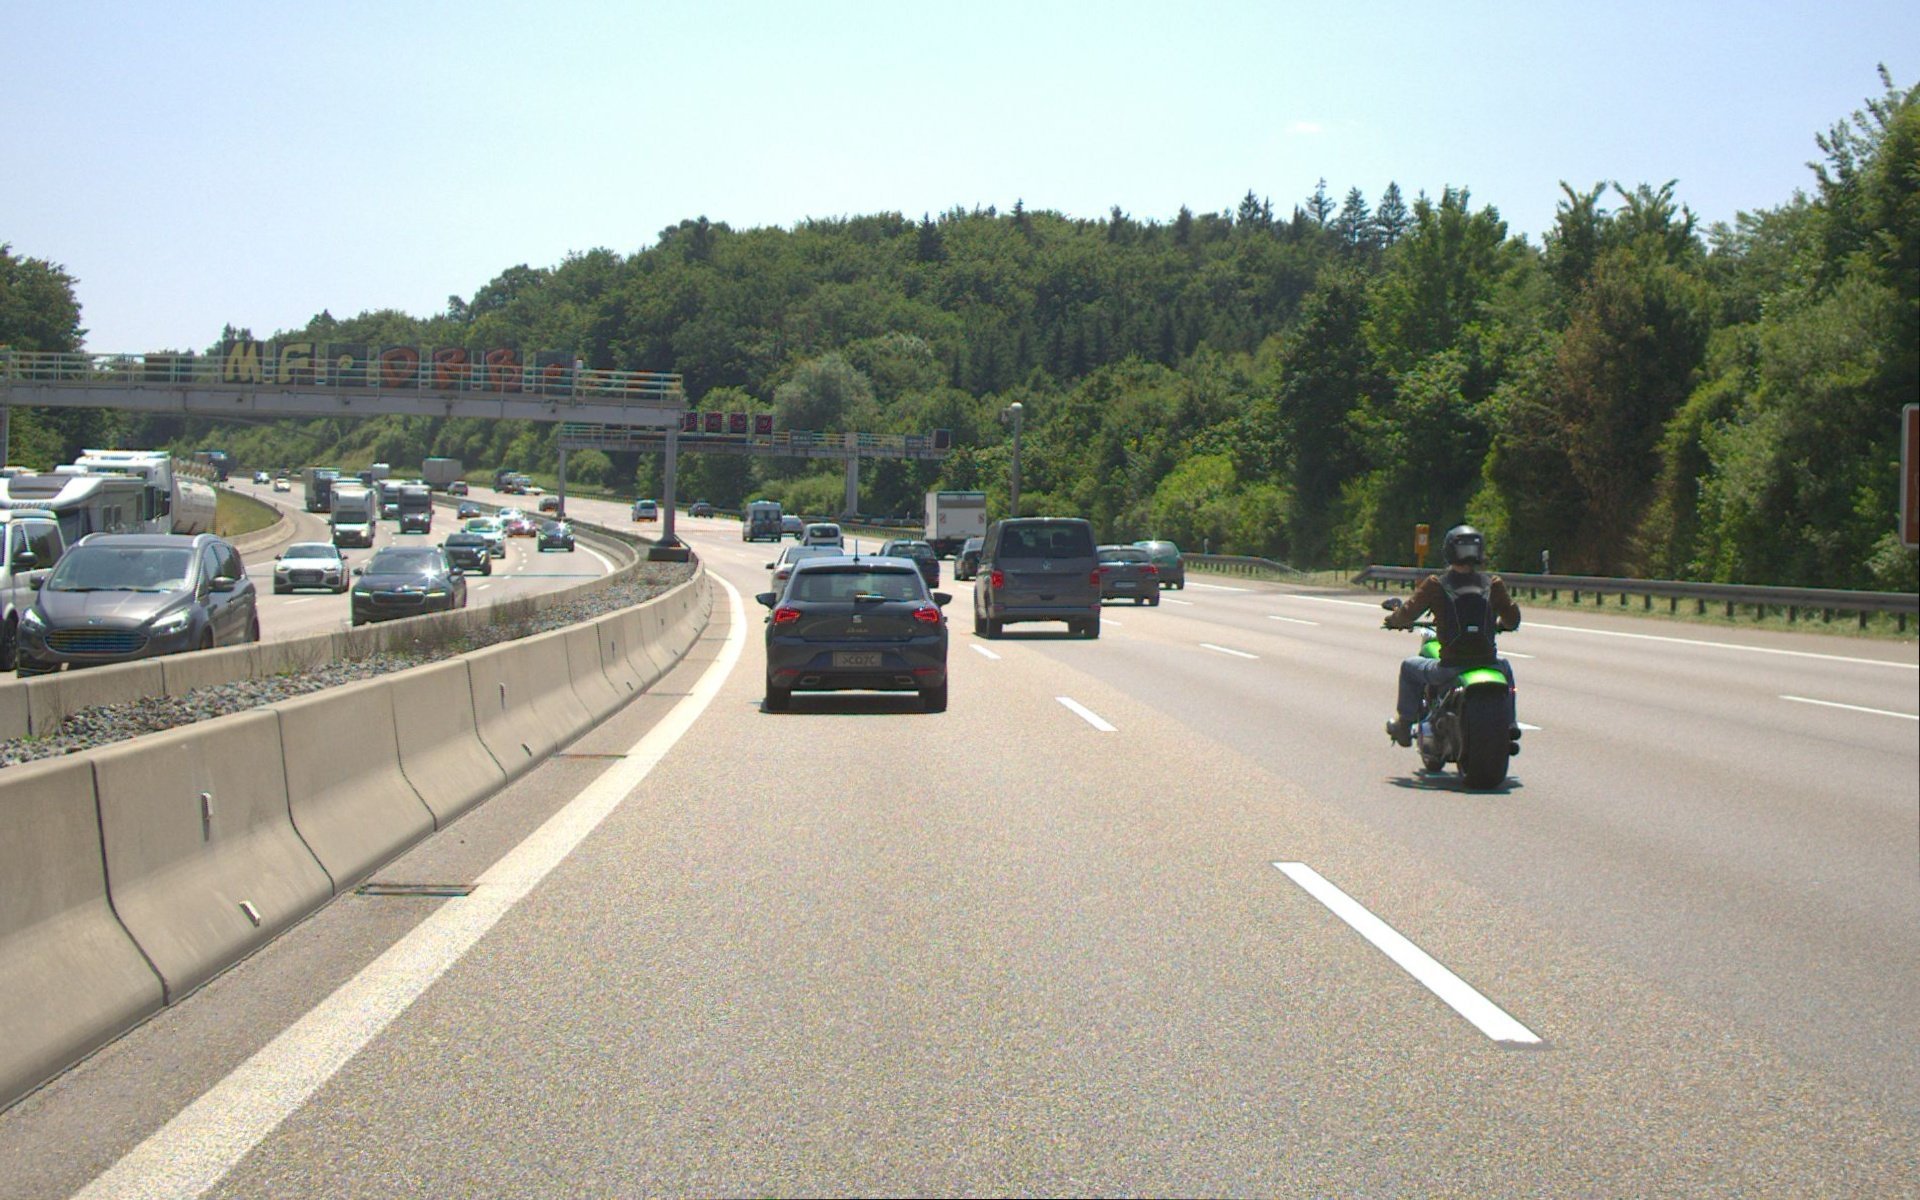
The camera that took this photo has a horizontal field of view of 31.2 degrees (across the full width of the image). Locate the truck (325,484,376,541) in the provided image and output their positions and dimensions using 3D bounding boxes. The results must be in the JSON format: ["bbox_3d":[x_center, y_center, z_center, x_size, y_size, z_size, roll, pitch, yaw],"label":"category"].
[{"bbox_3d":[-34.397,-4.937,194.212,2.487,3.156,4.403,1,1,-6],"label":"truck"}]

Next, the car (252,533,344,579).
[{"bbox_3d":[-18.389,-1.210,95.582,1.993,1.218,4.001,1,0,-3],"label":"car"}]

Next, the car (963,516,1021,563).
[{"bbox_3d":[1.054,-2.060,116.330,1.665,1.403,4.904,1,3,-3],"label":"car"}]

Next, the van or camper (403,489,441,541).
[{"bbox_3d":[-38.746,-6.127,247.856,2.429,3.665,7.760,0,1,-7],"label":"van or camper"}]

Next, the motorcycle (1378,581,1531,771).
[{"bbox_3d":[3.185,0.458,22.329,0.535,1.132,2.437,0,1,-3],"label":"motorcycle"}]

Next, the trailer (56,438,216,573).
[{"bbox_3d":[-23.132,-2.564,97.060,2.651,3.523,10.496,1,0,-4],"label":"trailer"}]

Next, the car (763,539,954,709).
[{"bbox_3d":[-0.945,0.182,33.113,1.708,1.428,4.001,1,2,-1],"label":"car"}]

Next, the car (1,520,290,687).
[{"bbox_3d":[-8.456,-0.003,36.153,1.872,1.627,5.164,0,1,-1],"label":"car"}]

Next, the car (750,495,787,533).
[{"bbox_3d":[-12.225,-5.500,219.406,2.265,2.363,4.703,0,2,-2],"label":"car"}]

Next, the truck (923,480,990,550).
[{"bbox_3d":[-0.186,-4.104,164.533,2.985,3.155,7.576,0,3,-1],"label":"truck"}]

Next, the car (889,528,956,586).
[{"bbox_3d":[-1.151,-1.298,104.531,1.945,1.706,4.000,1,0,-2],"label":"car"}]

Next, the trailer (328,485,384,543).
[{"bbox_3d":[-34.968,-4.948,199.321,2.474,3.143,10.482,1,0,-6],"label":"trailer"}]

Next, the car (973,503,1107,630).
[{"bbox_3d":[1.307,-0.547,57.961,1.962,2.026,5.083,0,0,-2],"label":"car"}]

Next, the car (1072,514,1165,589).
[{"bbox_3d":[3.745,-1.164,81.727,1.849,1.722,4.001,0,1,-2],"label":"car"}]

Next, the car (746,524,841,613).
[{"bbox_3d":[-3.609,-0.658,74.804,2.012,1.839,4.000,0,-1,-2],"label":"car"}]

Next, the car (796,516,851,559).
[{"bbox_3d":[-6.028,-2.785,151.339,2.103,1.738,4.689,0,3,-6],"label":"car"}]

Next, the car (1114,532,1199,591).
[{"bbox_3d":[5.841,-1.155,102.505,1.993,1.722,4.001,0,1,-5],"label":"car"}]

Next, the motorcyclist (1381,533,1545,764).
[{"bbox_3d":[3.200,0.290,21.942,0.852,1.422,1.023,0,2,-3],"label":"motorcyclist"}]

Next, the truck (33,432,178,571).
[{"bbox_3d":[-22.742,-2.563,91.789,2.703,3.531,6.622,1,0,-5],"label":"truck"}]

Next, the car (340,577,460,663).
[{"bbox_3d":[-10.222,0.331,63.046,1.674,1.491,4.953,1,0,-4],"label":"car"}]

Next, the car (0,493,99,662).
[{"bbox_3d":[-12.417,-0.300,43.097,2.002,2.007,5.185,0,1,-1],"label":"car"}]

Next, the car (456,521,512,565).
[{"bbox_3d":[-17.354,-2.073,125.439,1.675,1.521,4.611,1,0,-4],"label":"car"}]

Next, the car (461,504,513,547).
[{"bbox_3d":[-22.944,-3.600,166.806,2.195,2.048,7.142,0,1,-5],"label":"car"}]

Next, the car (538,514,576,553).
[{"bbox_3d":[-21.747,-3.564,185.638,1.993,2.007,4.001,1,0,-7],"label":"car"}]

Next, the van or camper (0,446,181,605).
[{"bbox_3d":[-17.048,-1.431,66.998,2.558,2.921,7.351,0,1,-4],"label":"van or camper"}]
